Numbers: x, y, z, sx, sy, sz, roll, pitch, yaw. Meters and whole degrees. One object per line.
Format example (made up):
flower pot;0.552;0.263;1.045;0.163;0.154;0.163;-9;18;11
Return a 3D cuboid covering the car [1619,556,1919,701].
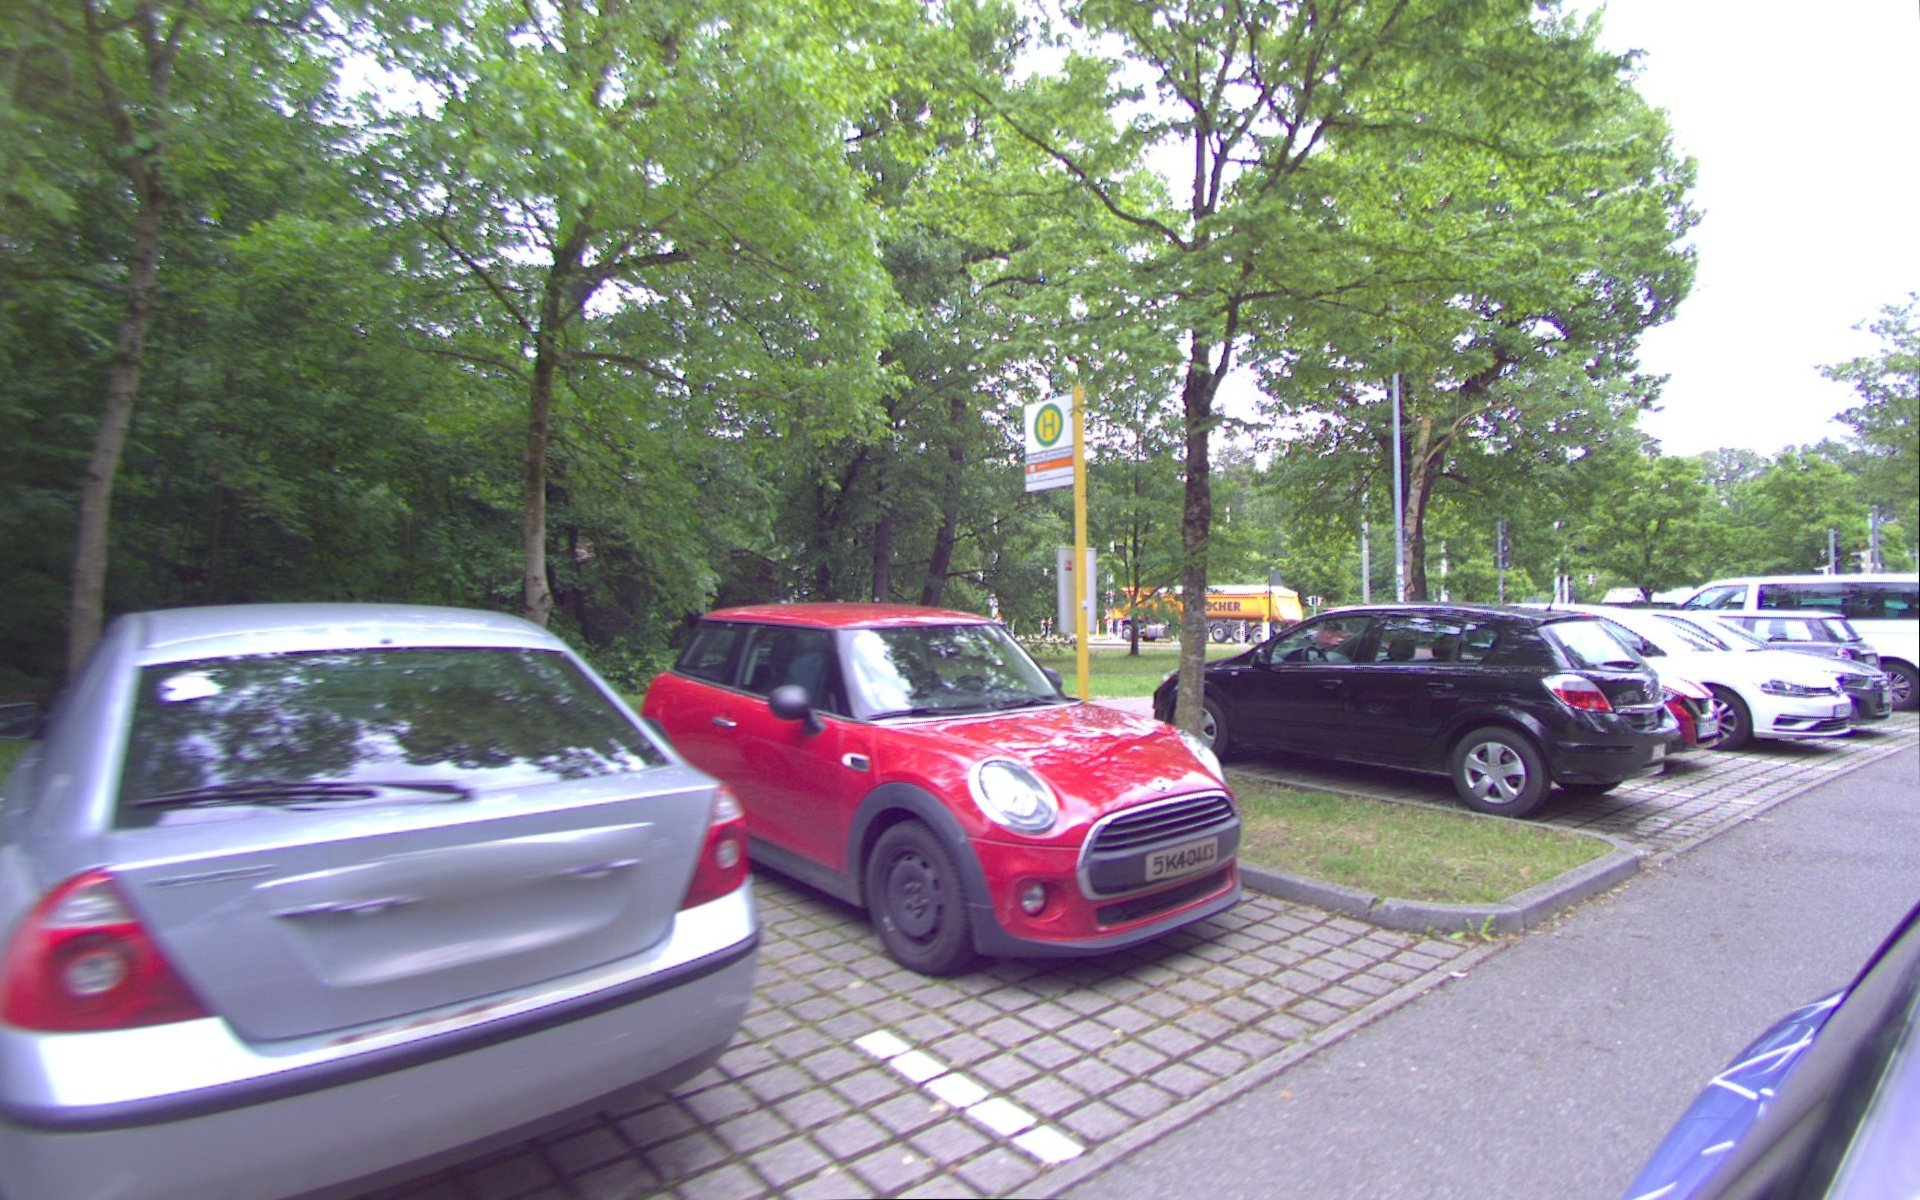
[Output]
car;13.512;0.479;16.066;2.043;2.048;4.663;2;-3;-34

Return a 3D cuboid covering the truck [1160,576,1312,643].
truck;15.475;0.507;57.347;2.816;3.559;8.238;2;-1;-39

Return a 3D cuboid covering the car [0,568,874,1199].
car;-2.237;0.662;3.643;1.832;1.480;4.135;0;1;-40

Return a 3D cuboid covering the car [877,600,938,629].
car;-3.376;0.983;64.713;1.963;1.739;3.995;3;-4;-39

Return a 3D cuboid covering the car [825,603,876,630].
car;-7.661;1.149;70.447;1.769;1.761;3.698;3;-4;-39

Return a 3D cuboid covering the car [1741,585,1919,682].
car;17.698;0.586;18.832;2.122;1.714;4.540;0;0;-29

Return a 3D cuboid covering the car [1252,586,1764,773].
car;5.334;0.627;10.372;1.884;1.499;4.239;0;0;-37

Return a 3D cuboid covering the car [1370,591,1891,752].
car;7.508;0.668;11.887;1.817;1.494;4.788;1;0;-34

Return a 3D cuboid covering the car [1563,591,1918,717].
car;11.198;0.762;14.757;1.811;1.575;3.733;3;-3;-36

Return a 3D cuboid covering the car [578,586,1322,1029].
car;-0.367;0.667;5.496;1.907;1.468;3.993;0;0;-42

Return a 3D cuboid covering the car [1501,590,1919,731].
car;9.505;0.697;13.077;1.842;1.502;3.998;-1;-1;-36

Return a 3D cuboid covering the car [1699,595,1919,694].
car;15.602;0.754;17.585;1.907;1.575;4.014;1;-2;-28

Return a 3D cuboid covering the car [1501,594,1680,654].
car;20.210;0.797;32.578;1.967;1.773;4.564;4;-4;-45

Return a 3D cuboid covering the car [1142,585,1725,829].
car;3.652;0.642;8.422;1.887;1.502;3.997;0;0;-37

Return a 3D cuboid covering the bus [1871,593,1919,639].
bus;84.301;1.489;82.274;18.202;3.529;3.981;1;-3;-6
